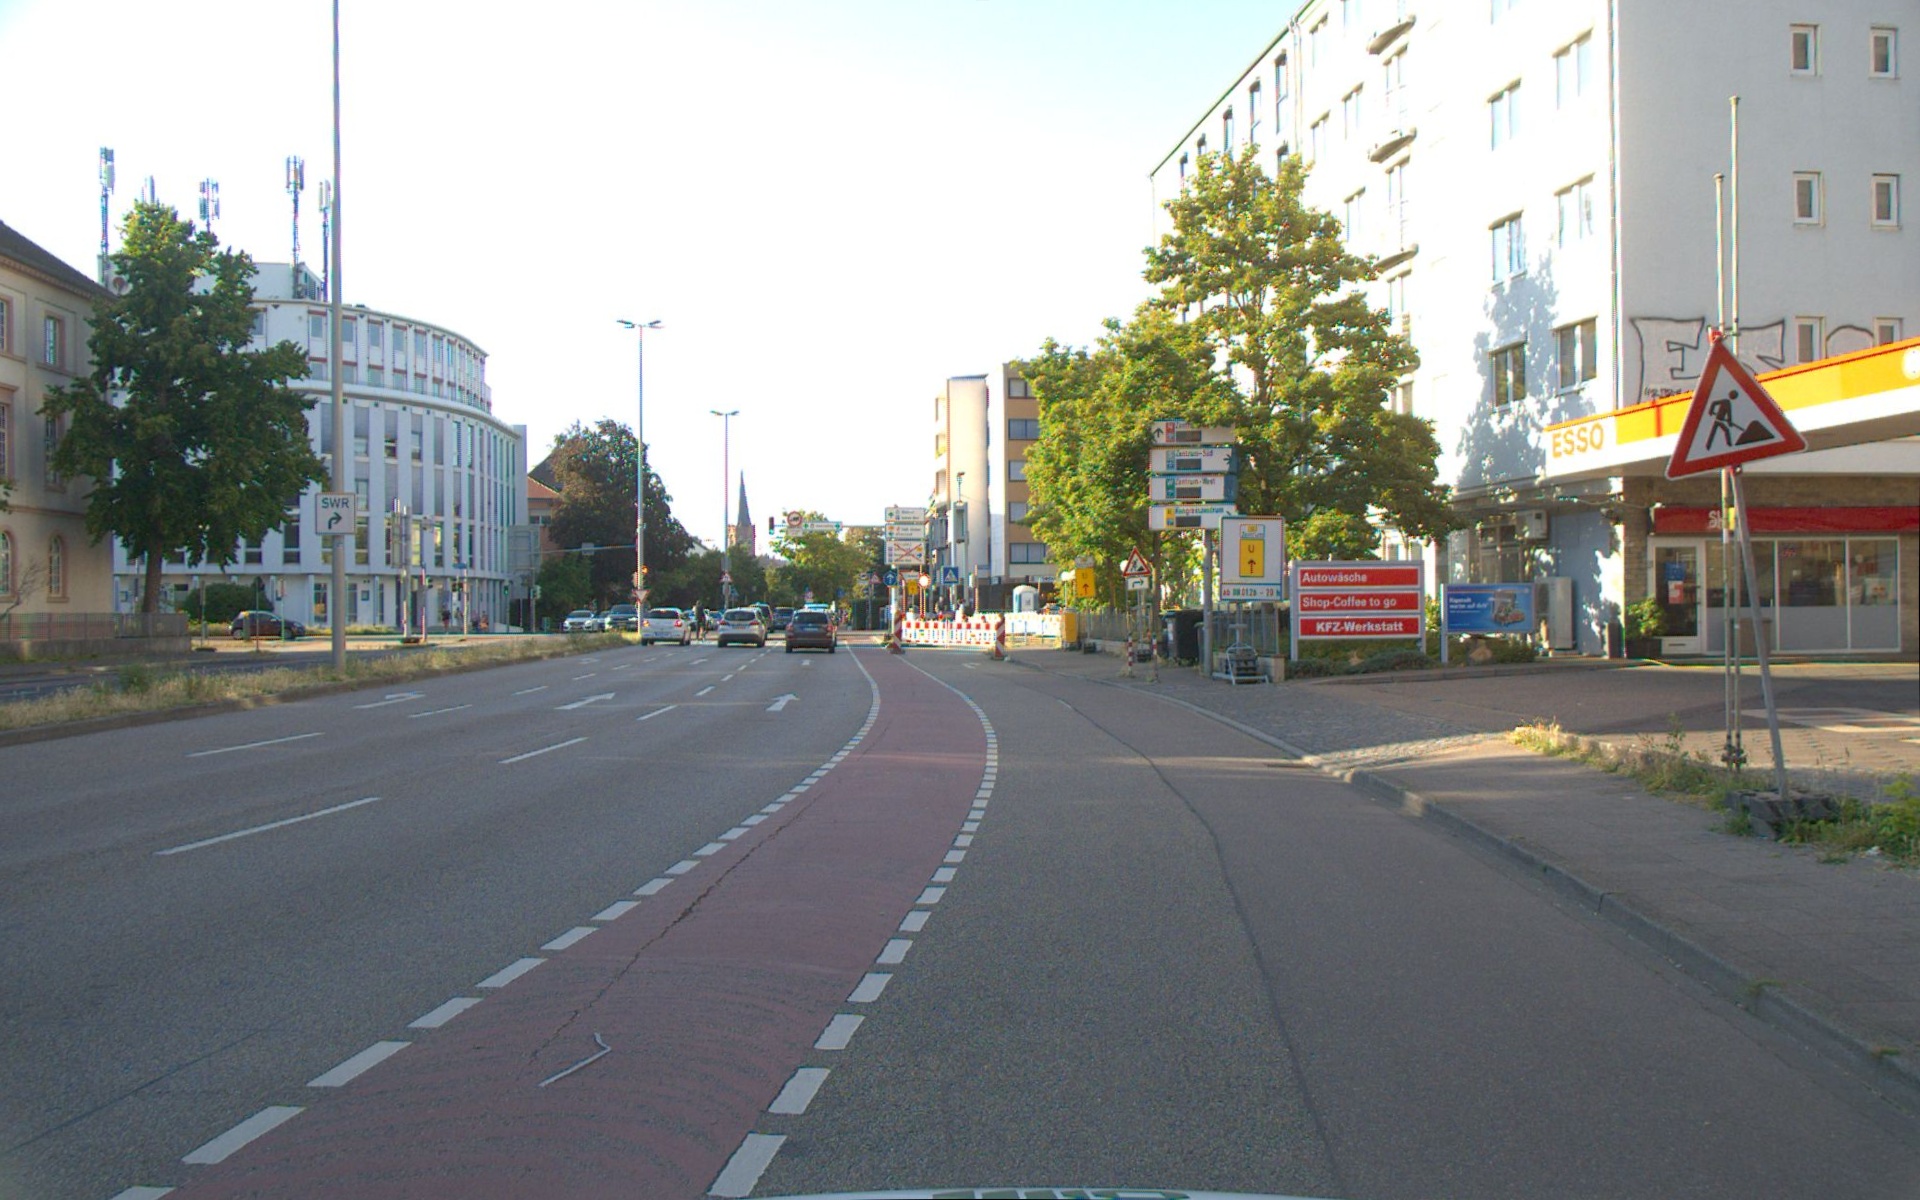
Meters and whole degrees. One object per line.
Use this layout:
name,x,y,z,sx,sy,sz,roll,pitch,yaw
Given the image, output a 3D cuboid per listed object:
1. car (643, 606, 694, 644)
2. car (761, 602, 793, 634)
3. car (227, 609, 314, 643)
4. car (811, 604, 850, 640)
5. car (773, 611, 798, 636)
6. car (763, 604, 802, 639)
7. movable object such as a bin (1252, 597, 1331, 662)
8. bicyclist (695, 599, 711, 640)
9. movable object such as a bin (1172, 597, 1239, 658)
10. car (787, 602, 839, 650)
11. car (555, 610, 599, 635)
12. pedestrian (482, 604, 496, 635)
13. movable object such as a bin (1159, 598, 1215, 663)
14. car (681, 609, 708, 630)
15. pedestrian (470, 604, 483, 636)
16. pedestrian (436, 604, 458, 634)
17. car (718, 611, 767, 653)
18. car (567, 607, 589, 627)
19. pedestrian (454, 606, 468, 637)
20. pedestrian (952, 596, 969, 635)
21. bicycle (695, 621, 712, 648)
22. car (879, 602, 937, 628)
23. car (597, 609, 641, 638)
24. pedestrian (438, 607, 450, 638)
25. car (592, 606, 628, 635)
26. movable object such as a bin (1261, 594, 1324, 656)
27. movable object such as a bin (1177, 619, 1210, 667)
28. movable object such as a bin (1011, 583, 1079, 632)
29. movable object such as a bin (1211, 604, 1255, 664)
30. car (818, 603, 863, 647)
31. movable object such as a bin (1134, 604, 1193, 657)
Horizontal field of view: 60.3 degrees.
car,-11.862,0.989,67.512,1.652,1.482,3.996,0,0,-5
car,-10.030,0.985,90.851,1.632,1.686,3.996,-1,0,-4
car,-35.638,1.370,85.550,3.738,1.557,1.859,-2,-2,-9
car,-6.362,1.072,81.132,1.784,1.668,3.994,-1,0,-6
car,-12.306,1.651,116.629,1.632,1.686,3.996,-1,0,-4
car,-8.404,0.997,78.531,1.714,1.591,4.045,-1,0,-5
movable object such as a bin,7.579,0.666,37.845,1.577,1.435,0.864,-1,0,-7
bicyclist,-11.254,0.852,72.479,0.678,1.758,0.986,-1,-1,-8
movable object such as a bin,6.259,0.703,42.235,1.304,1.511,1.206,-1,0,-15
car,-5.108,0.889,57.641,1.714,1.591,4.045,-1,0,-5
car,-24.066,1.411,104.014,1.954,1.438,4.439,-2,0,-4
pedestrian,-28.735,1.189,100.830,0.614,1.901,1.126,-1,-1,-6
movable object such as a bin,5.539,0.744,40.401,1.071,1.534,1.252,-1,-3,-5
car,-18.829,1.362,117.378,1.813,1.487,4.042,-1,0,-8
pedestrian,-29.454,1.219,100.784,0.647,1.901,0.777,-1,-1,-7
pedestrian,-34.929,1.286,112.613,1.069,2.049,1.036,-1,-1,5
car,-8.596,1.237,65.540,1.714,1.591,4.045,-1,0,-5
car,-32.645,1.462,141.388,1.809,1.599,3.988,-1,0,-12
pedestrian,-30.707,1.312,101.761,0.746,1.874,0.815,-1,-1,-15
pedestrian,0.034,0.725,77.030,0.726,1.831,0.715,-1,-1,-2
bicycle,-11.245,1.513,72.560,0.686,1.119,2.254,-1,0,-8
car,-3.986,1.134,126.545,4.280,1.910,1.997,-1,0,-7
car,-19.789,1.341,96.120,1.955,1.606,4.893,-1,0,-6
pedestrian,-31.707,1.357,101.592,0.649,1.891,0.775,-1,-1,-17
car,-24.658,1.468,116.736,1.804,1.848,3.997,-2,-2,-3
movable object such as a bin,8.105,0.598,40.370,1.171,1.446,1.278,-2,1,-3
movable object such as a bin,5.290,0.962,37.504,0.607,1.064,0.616,-1,-1,-3
movable object such as a bin,4.375,0.394,85.139,3.264,2.425,1.527,-1,-1,-6
movable object such as a bin,6.213,0.761,37.687,0.762,1.331,0.864,-1,0,-7
car,-4.838,1.029,67.417,1.693,1.630,3.720,-2,-2,-3
movable object such as a bin,5.415,0.806,44.042,1.196,1.367,1.049,-1,0,-21
